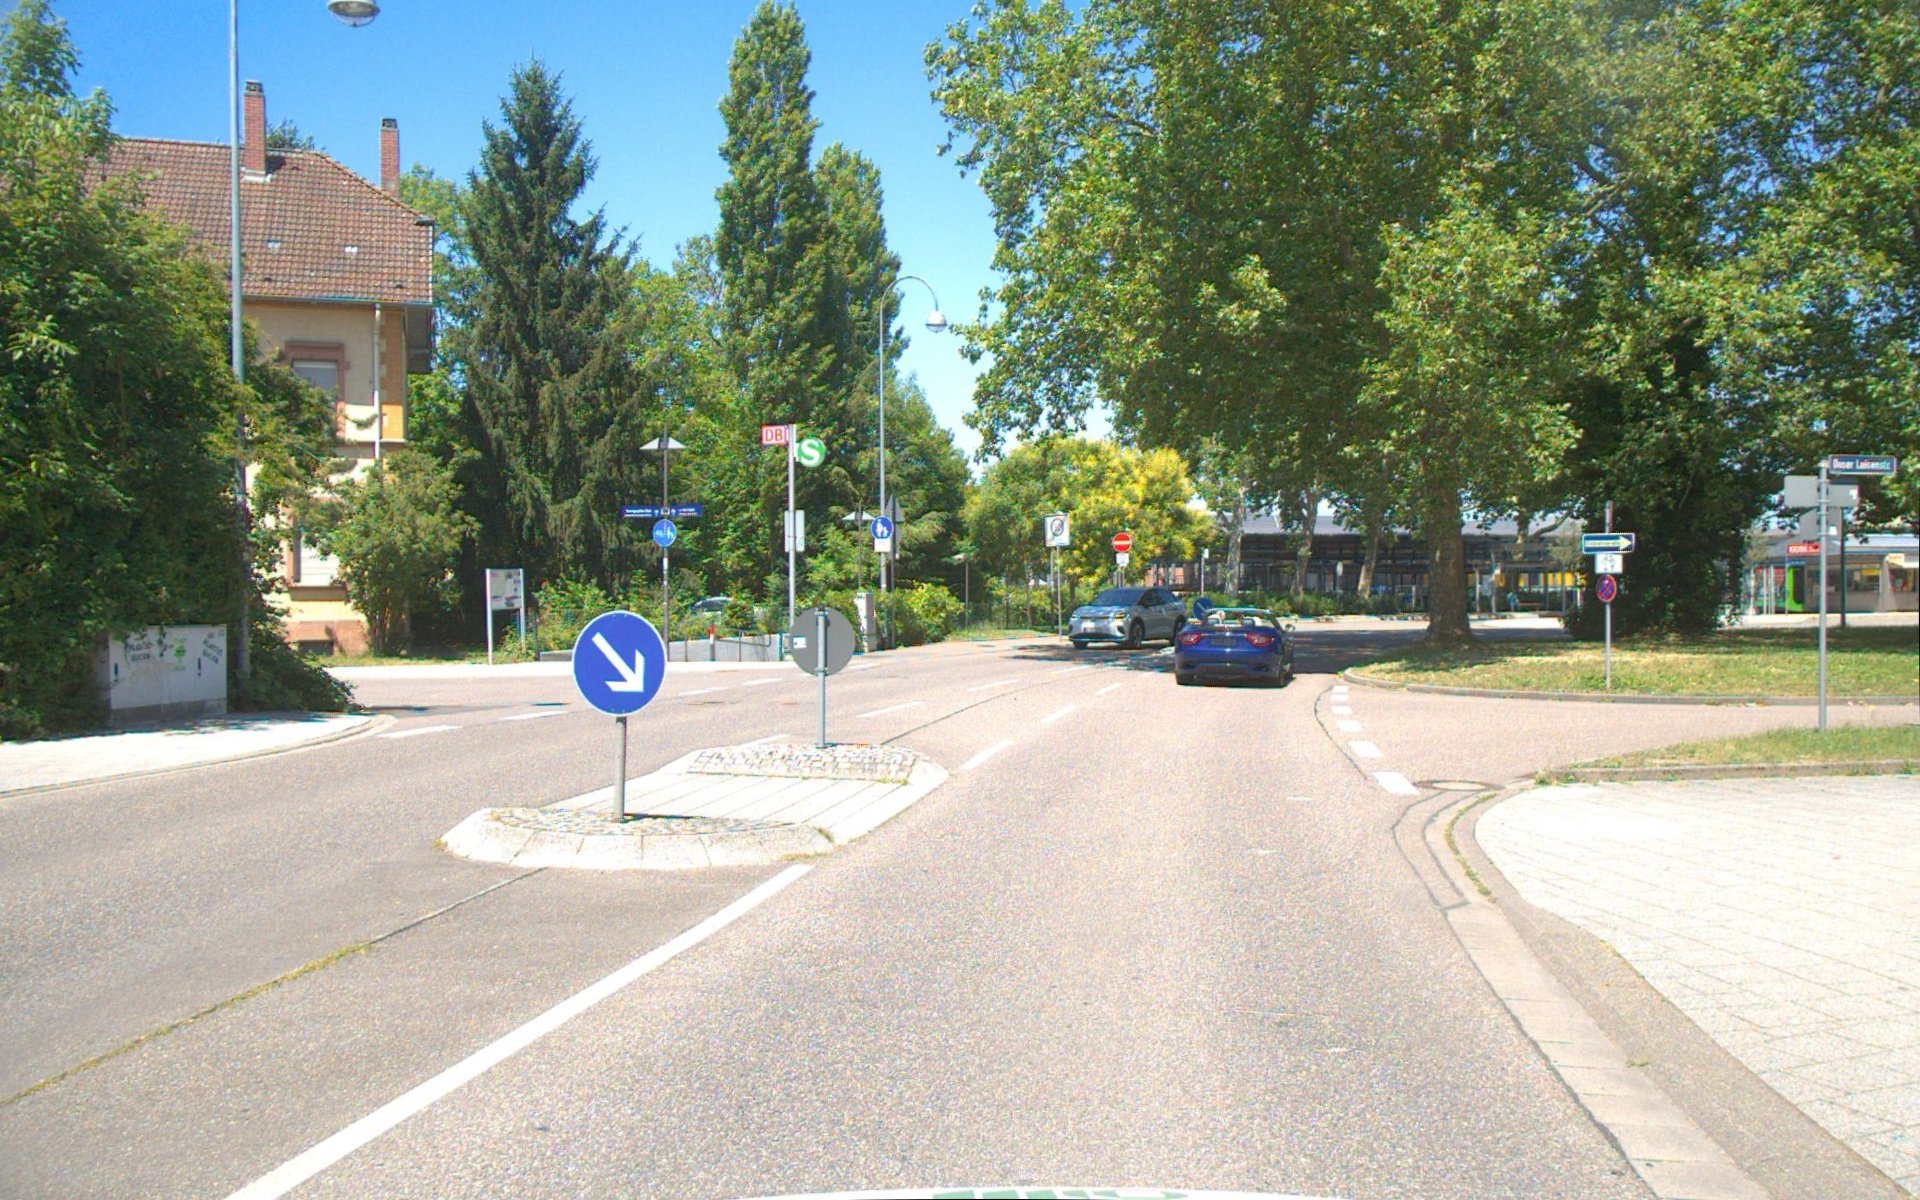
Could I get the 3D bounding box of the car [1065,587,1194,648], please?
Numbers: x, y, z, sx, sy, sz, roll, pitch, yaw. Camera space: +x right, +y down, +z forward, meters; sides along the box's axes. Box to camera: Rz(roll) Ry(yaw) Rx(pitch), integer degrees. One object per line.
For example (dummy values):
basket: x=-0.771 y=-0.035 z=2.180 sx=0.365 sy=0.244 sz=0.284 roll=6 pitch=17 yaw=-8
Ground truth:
car: x=4.634 y=0.429 z=44.771 sx=1.811 sy=1.557 sz=4.328 roll=0 pitch=1 yaw=31

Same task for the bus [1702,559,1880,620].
bus: x=51.374 y=-0.684 z=102.177 sx=11.999 sy=3.587 sz=2.157 roll=-1 pitch=0 yaw=-20
